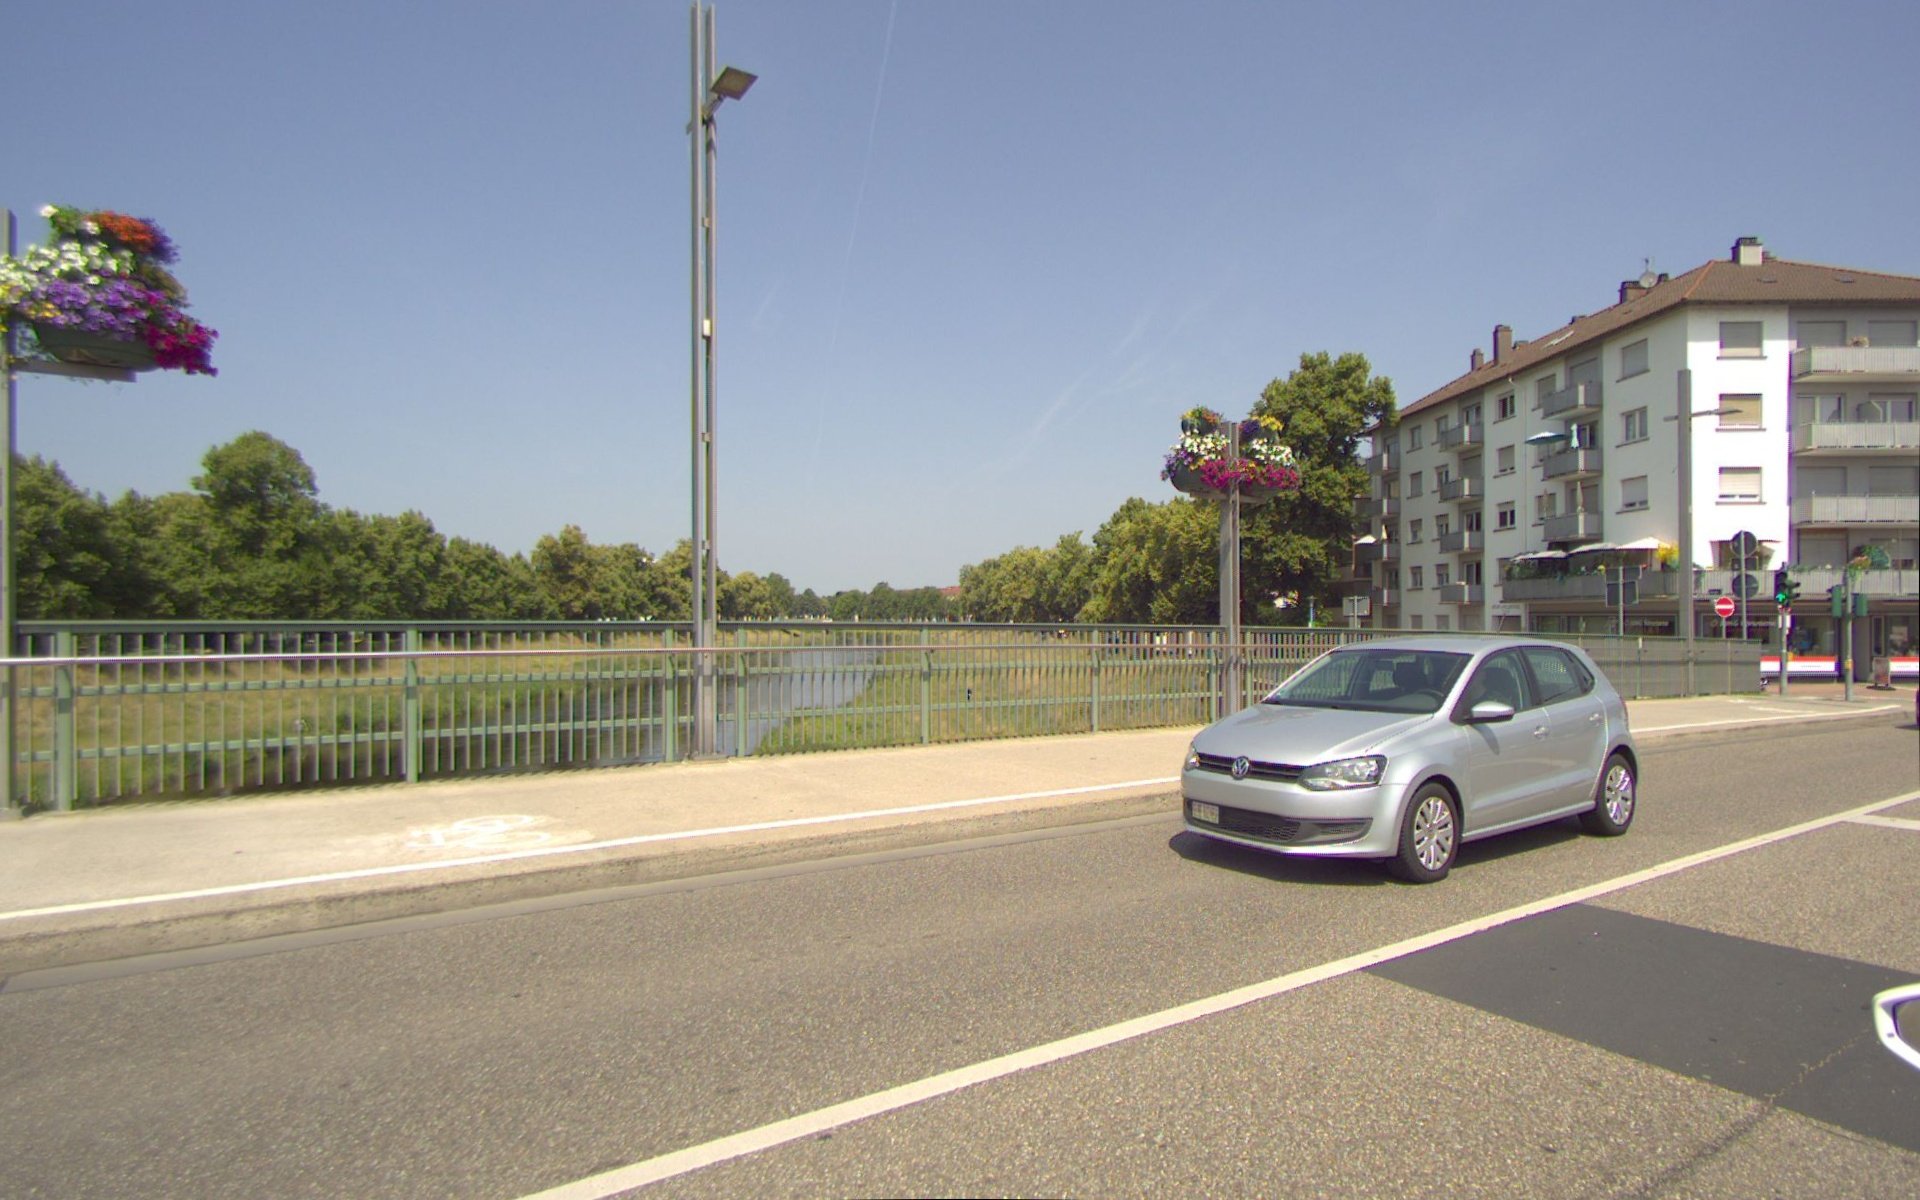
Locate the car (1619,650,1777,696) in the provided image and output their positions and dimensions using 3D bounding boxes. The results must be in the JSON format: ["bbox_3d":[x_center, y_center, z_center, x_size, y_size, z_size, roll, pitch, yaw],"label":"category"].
[{"bbox_3d":[25.521,2.484,34.945,1.673,1.438,4.373,0,-2,-14],"label":"car"}]

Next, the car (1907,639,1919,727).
[{"bbox_3d":[17.842,1.410,17.155,3.716,1.459,1.647,2,-3,-34],"label":"car"}]

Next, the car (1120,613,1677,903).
[{"bbox_3d":[3.217,0.892,7.172,3.957,1.539,1.751,1,-2,-33],"label":"car"}]
